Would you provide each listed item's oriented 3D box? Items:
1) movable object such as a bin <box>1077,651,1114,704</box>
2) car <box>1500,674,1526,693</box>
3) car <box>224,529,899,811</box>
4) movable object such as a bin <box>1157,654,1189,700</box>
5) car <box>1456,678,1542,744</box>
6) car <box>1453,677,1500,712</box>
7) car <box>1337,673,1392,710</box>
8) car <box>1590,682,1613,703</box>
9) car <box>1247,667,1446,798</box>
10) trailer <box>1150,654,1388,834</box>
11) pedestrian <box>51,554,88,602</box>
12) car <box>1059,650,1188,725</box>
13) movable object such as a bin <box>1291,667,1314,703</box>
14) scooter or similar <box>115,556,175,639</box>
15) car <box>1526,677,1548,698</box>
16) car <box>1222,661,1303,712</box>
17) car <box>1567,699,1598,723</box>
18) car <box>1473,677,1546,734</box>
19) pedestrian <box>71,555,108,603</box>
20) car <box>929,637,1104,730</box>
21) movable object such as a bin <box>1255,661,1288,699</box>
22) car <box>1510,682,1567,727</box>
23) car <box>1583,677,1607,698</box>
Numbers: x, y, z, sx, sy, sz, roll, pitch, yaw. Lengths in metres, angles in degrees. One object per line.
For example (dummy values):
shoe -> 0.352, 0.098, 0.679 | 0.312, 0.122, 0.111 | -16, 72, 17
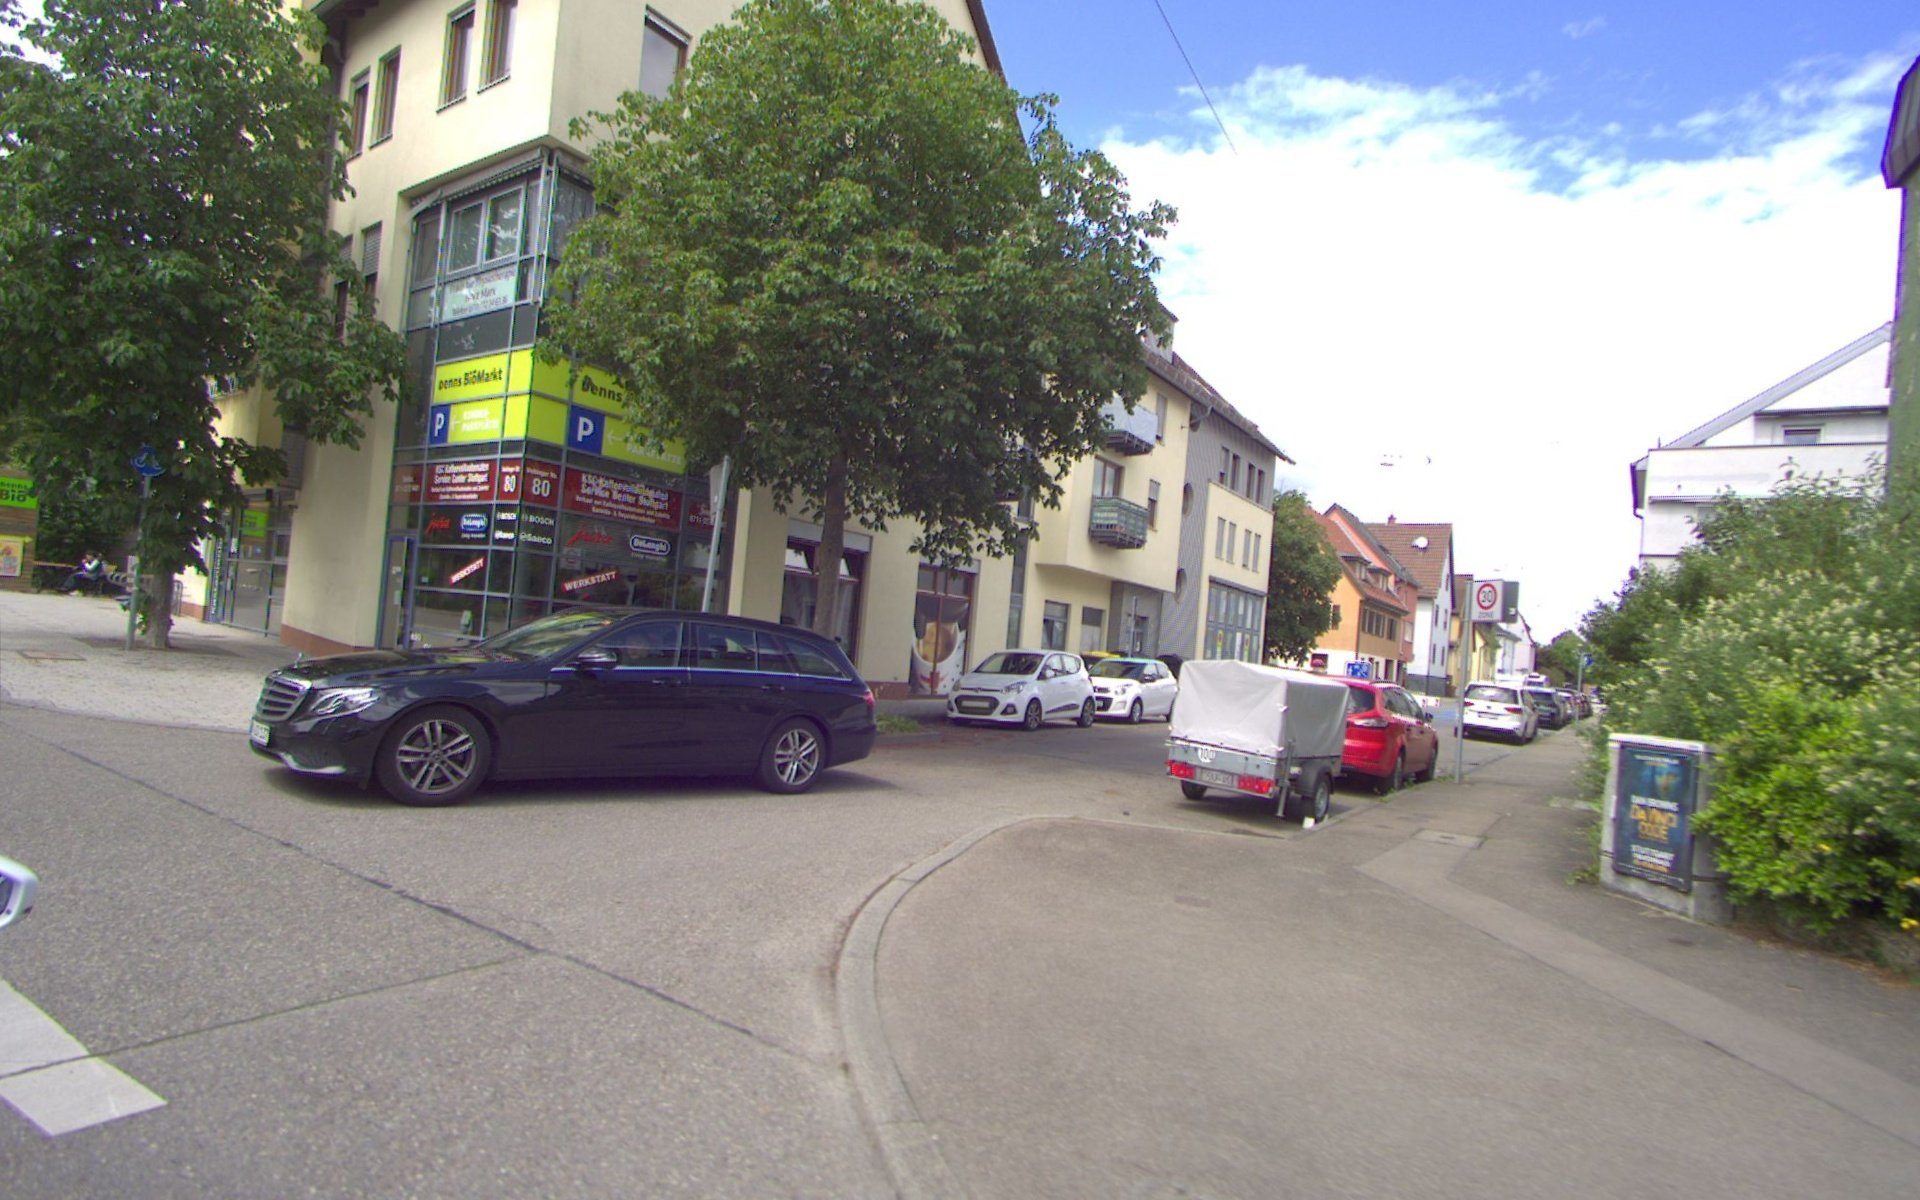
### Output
movable object such as a bin -> 3.966, 2.260, 29.389 | 0.759, 1.436, 0.596 | 4, -3, 35
car -> 49.443, 7.441, 89.954 | 1.696, 1.462, 3.597 | 4, -3, 33
car -> -2.878, 0.660, 8.172 | 1.787, 1.646, 4.664 | 3, -5, 44
movable object such as a bin -> 7.139, 2.578, 33.702 | 0.759, 1.436, 0.596 | 4, -3, 35
car -> 15.591, 3.155, 29.000 | 1.705, 1.626, 3.970 | 4, -2, 34
car -> 27.905, 5.108, 54.321 | 1.822, 1.610, 3.666 | 4, -4, 33
car -> 17.897, 4.048, 44.438 | 1.553, 1.462, 3.598 | 4, -3, 32
car -> 64.250, 9.292, 100.781 | 1.822, 1.775, 3.666 | 4, -4, 33
car -> 5.736, 1.819, 14.597 | 1.705, 1.463, 4.245 | 4, -2, 34
trailer -> 3.570, 1.515, 11.320 | 1.373, 1.601, 3.155 | 6, 0, 39
pedestrian -> -24.093, -0.594, 27.210 | 0.493, 1.195, 0.522 | 4, -3, 32
car -> 3.844, 2.067, 23.228 | 1.553, 1.462, 3.600 | 4, -4, 32
movable object such as a bin -> 14.674, 3.646, 43.077 | 0.671, 1.436, 0.596 | 4, -3, 35
scooter or similar -> -13.909, -0.057, 17.157 | 1.438, 1.331, 0.381 | 3, -3, 39
car -> 63.129, 9.609, 110.019 | 1.822, 1.958, 3.666 | 4, -4, 33
car -> 9.957, 2.845, 32.974 | 1.553, 1.462, 3.598 | 4, -3, 32
car -> 47.147, 8.372, 76.155 | 1.705, 1.626, 3.969 | 4, -2, 35
car -> 18.472, 3.514, 33.753 | 1.705, 1.626, 3.970 | 4, -2, 34
pedestrian -> -23.285, -0.557, 26.915 | 0.496, 1.217, 0.576 | 3, -3, 42
car -> 1.170, 1.639, 19.193 | 1.704, 1.462, 3.600 | 4, -4, 32
movable object such as a bin -> 12.958, 3.333, 41.856 | 1.041, 1.436, 0.596 | 4, -3, 36
car -> 23.871, 4.277, 41.455 | 1.705, 1.626, 3.970 | 4, -2, 34
car -> 60.477, 8.347, 95.829 | 1.822, 1.775, 3.666 | 4, -4, 33
